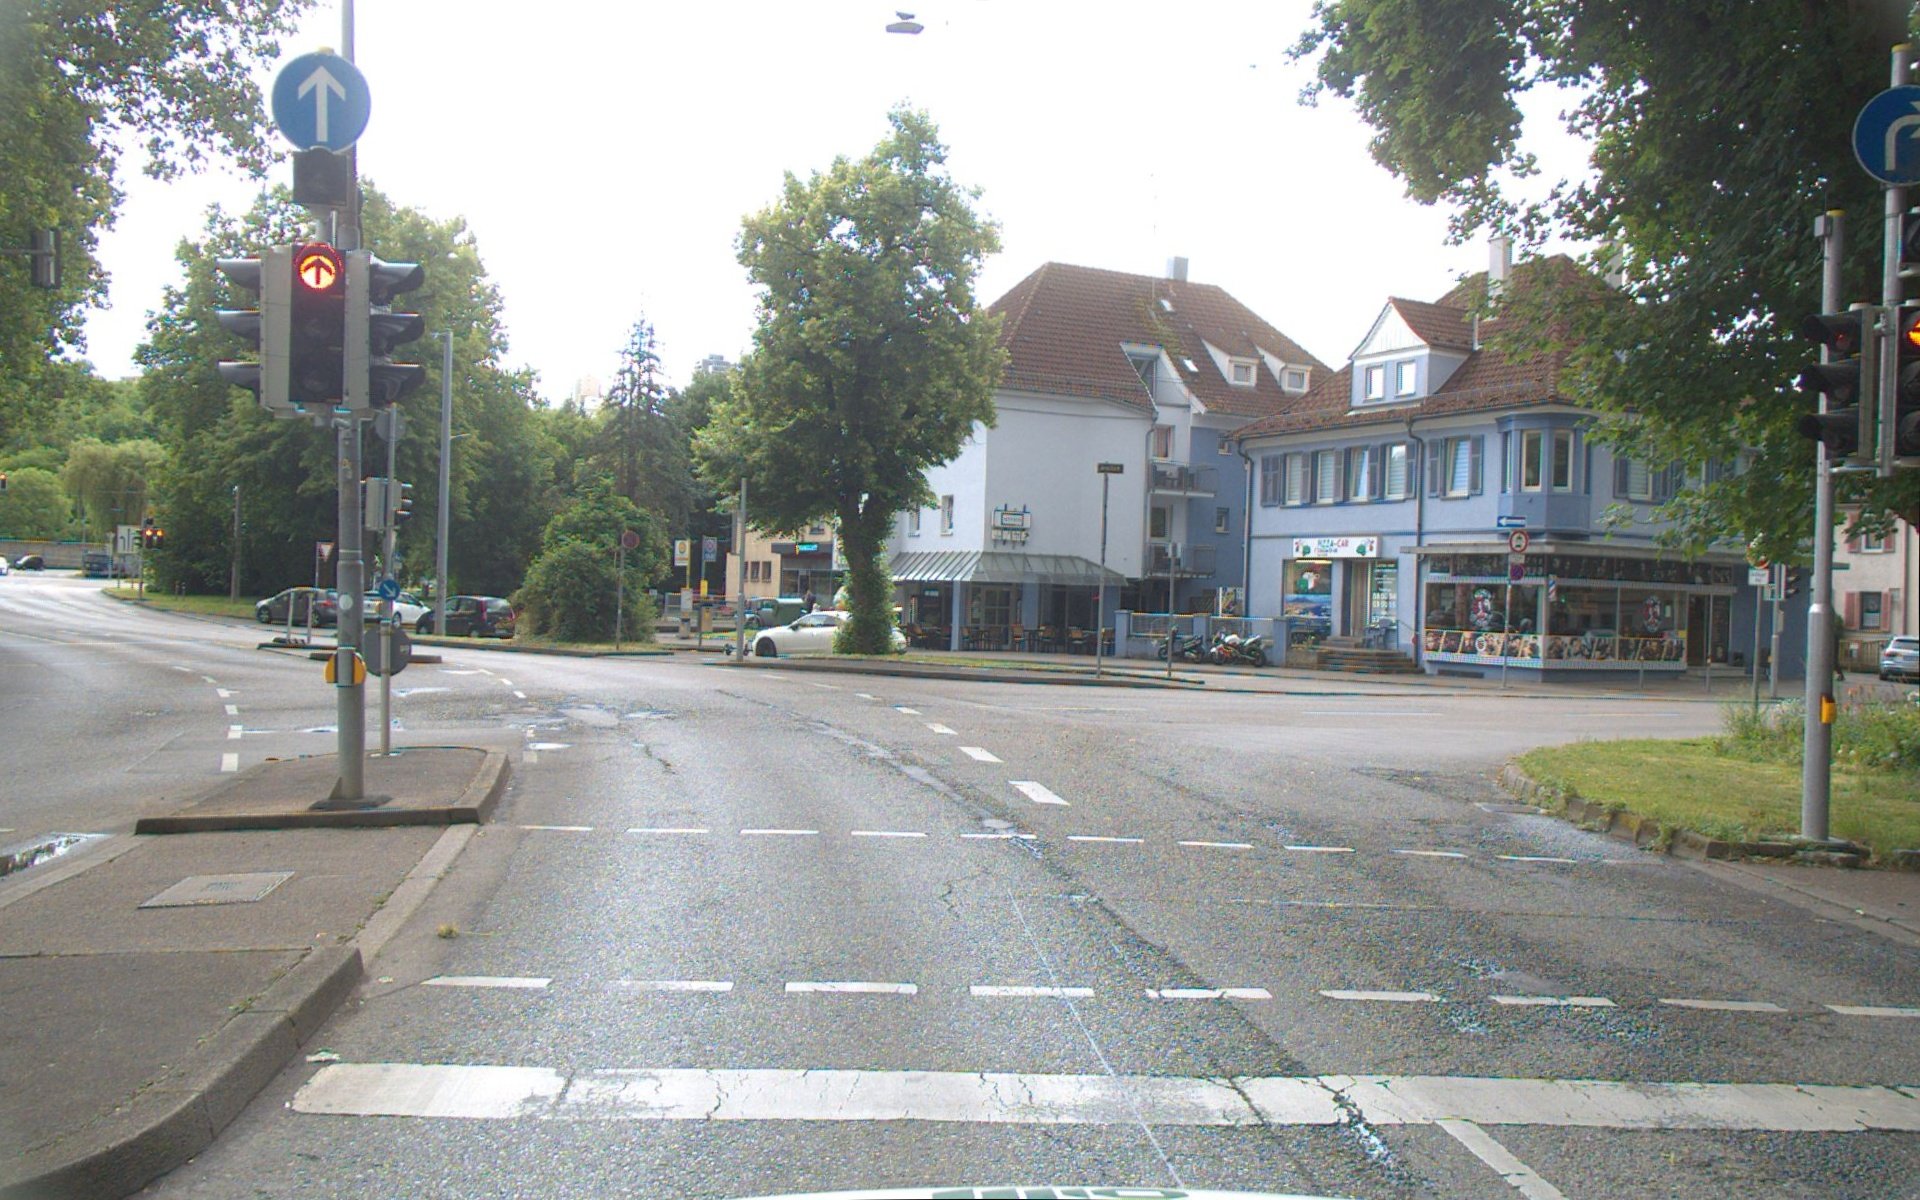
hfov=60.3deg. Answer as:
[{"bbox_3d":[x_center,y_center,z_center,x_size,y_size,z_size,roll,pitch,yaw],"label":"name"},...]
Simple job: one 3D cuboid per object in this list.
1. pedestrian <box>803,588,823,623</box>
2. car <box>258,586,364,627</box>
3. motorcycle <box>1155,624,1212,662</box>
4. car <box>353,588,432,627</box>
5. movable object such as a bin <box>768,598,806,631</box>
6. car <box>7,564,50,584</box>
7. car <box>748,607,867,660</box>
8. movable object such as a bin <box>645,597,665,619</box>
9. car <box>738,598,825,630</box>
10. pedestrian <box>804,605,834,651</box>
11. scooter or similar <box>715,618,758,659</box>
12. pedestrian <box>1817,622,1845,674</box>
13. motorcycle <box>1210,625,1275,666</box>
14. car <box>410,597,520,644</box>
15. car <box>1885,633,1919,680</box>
[{"bbox_3d":[-6.682,0.235,75.224,0.697,1.572,0.673,1,0,-26],"label":"pedestrian"},{"bbox_3d":[-24.861,0.246,63.390,3.469,1.490,1.586,1,0,12],"label":"car"},{"bbox_3d":[6.790,1.295,50.232,1.609,1.082,0.690,1,0,44],"label":"motorcycle"},{"bbox_3d":[-22.670,0.308,66.180,1.512,1.490,3.398,1,0,10],"label":"car"},{"bbox_3d":[-7.719,0.660,73.837,1.424,1.433,0.959,1,0,-27],"label":"movable object such as a bin"},{"bbox_3d":[-102.213,-2.824,181.489,3.948,2.049,1.978,1,0,-32],"label":"car"},{"bbox_3d":[-4.246,0.919,45.953,3.110,1.378,1.435,1,0,34],"label":"car"},{"bbox_3d":[-15.853,0.397,85.910,0.937,1.135,0.381,1,0,-22],"label":"movable object such as a bin"},{"bbox_3d":[-8.159,0.644,75.727,3.690,1.368,1.421,1,0,-27],"label":"car"},{"bbox_3d":[-4.894,0.967,57.546,0.754,1.572,0.675,1,-1,38],"label":"pedestrian"},{"bbox_3d":[-5.732,0.983,42.537,0.408,1.029,1.567,1,0,20],"label":"scooter or similar"},{"bbox_3d":[25.754,1.416,48.920,0.575,1.544,0.458,1,-1,-9],"label":"pedestrian"},{"bbox_3d":[8.271,1.312,48.475,1.765,1.141,0.692,1,0,38],"label":"motorcycle"},{"bbox_3d":[-16.009,0.660,53.458,3.519,1.418,1.468,1,0,32],"label":"car"},{"bbox_3d":[29.850,1.741,51.408,1.471,1.393,3.164,1,0,38],"label":"car"}]
